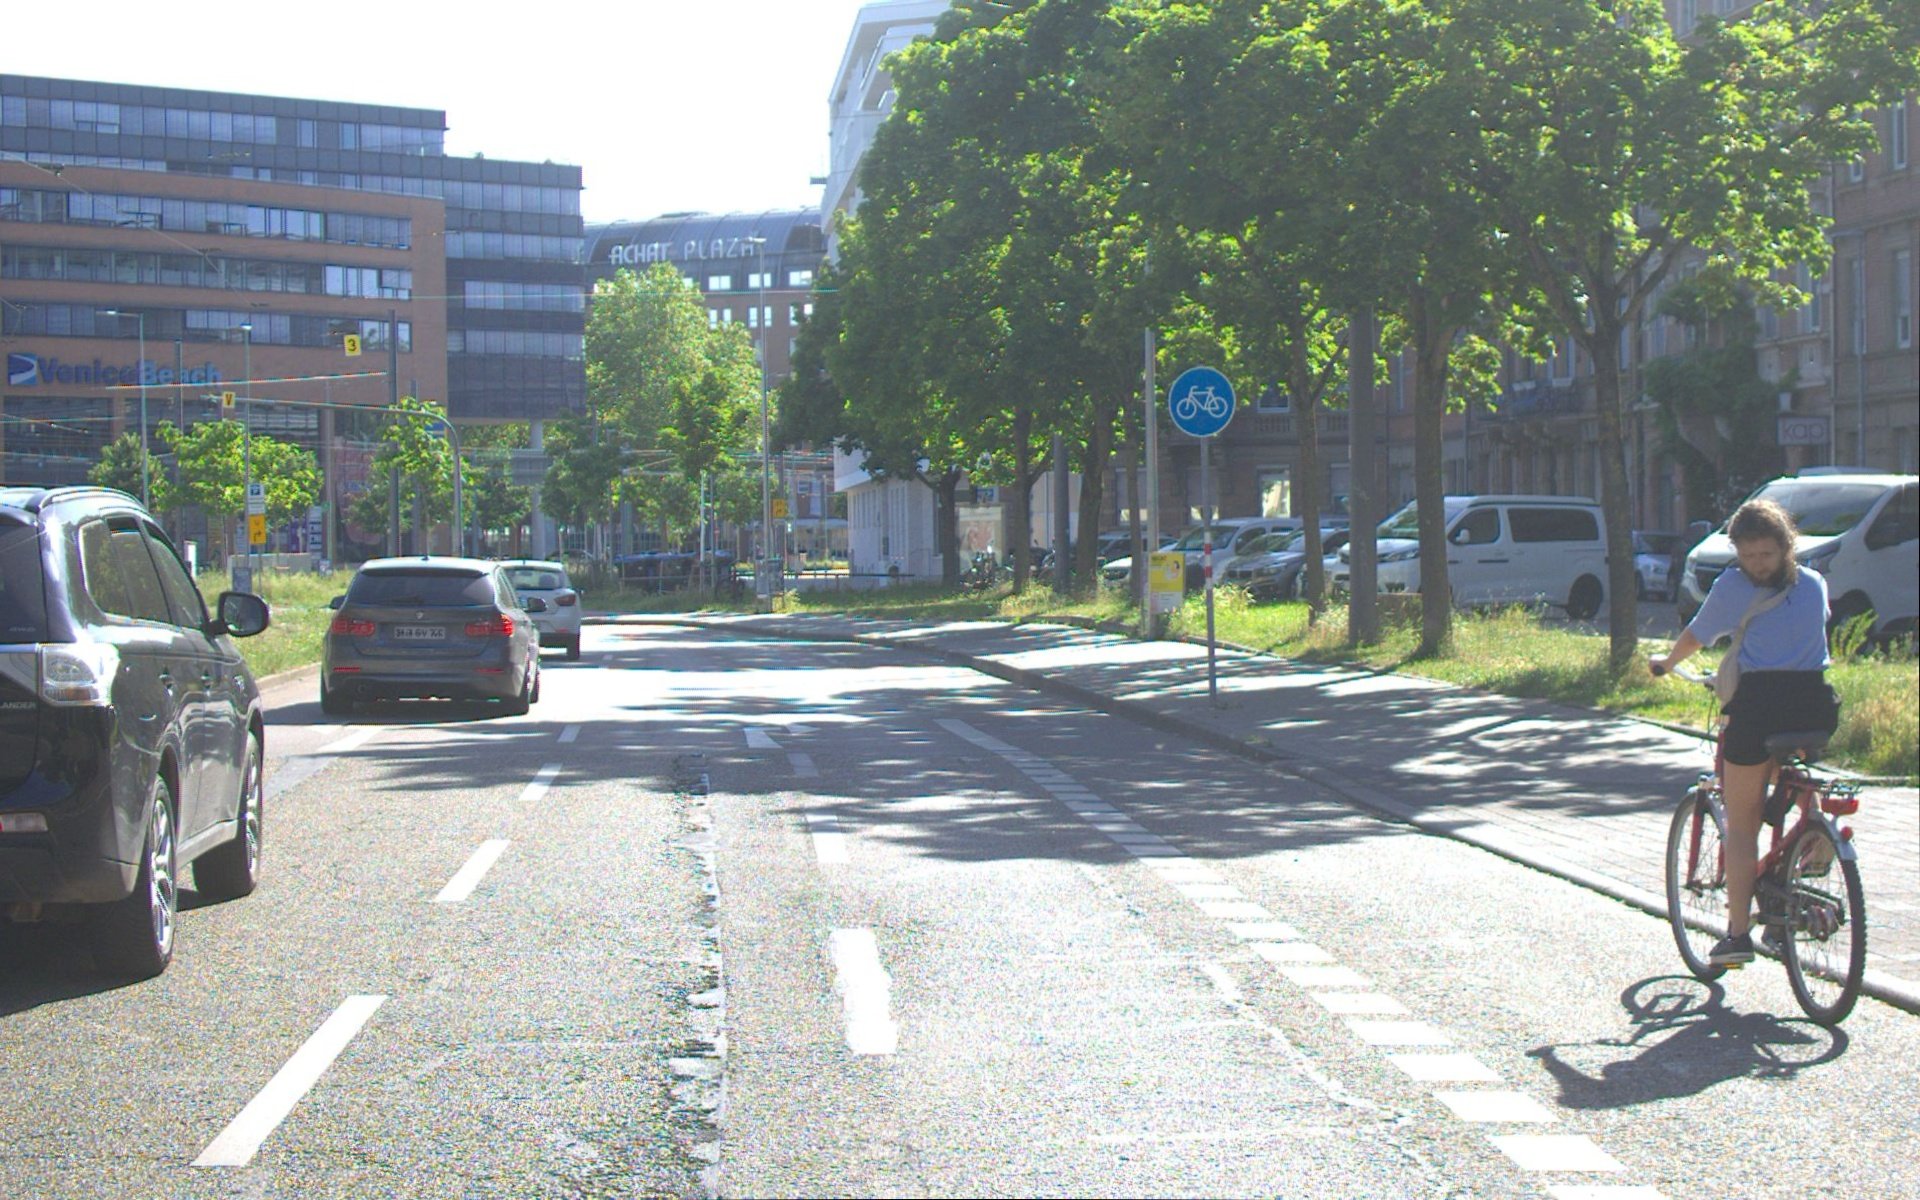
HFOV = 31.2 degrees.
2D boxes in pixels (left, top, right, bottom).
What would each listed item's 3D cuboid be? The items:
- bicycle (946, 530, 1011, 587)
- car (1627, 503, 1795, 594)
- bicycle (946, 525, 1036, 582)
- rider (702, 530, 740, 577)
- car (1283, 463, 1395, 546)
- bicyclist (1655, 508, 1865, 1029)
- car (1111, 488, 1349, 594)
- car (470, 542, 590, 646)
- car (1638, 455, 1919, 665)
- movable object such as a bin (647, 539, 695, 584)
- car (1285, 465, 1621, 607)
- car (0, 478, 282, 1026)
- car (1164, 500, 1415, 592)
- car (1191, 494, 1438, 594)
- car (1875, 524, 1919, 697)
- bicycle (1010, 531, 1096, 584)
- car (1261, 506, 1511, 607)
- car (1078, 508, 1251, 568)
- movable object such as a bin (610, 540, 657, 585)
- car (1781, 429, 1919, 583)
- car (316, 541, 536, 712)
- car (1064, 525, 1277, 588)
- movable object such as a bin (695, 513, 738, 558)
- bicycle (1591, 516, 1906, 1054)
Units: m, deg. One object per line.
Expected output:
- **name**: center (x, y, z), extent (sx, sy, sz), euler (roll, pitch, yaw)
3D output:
- **bicycle**: center (0.450, -1.000, 82.372), extent (0.769, 1.285, 1.594), euler (-1, 2, 35)
- **car**: center (14.652, -1.018, 67.324), extent (1.993, 1.685, 4.514), euler (-1, 1, -4)
- **bicycle**: center (0.763, -1.139, 84.563), extent (2.092, 1.360, 0.787), euler (-1, 1, -10)
- **rider**: center (-6.129, -1.193, 88.275), extent (0.502, 1.172, 1.675), euler (-1, 2, 12)
- **car**: center (11.366, -2.874, 103.448), extent (2.348, 2.349, 5.189), euler (-2, 2, -4)
- **bicyclist**: center (2.598, 0.521, 11.214), extent (0.437, 1.633, 0.779), euler (-1, 1, -4)
- **car**: center (5.773, -1.271, 73.213), extent (4.866, 2.006, 2.100), euler (-4, 1, -39)
- **car**: center (-6.293, -0.061, 50.109), extent (1.632, 1.418, 3.783), euler (1, -1, -8)
- **car**: center (9.726, -0.498, 37.160), extent (4.866, 2.068, 2.020), euler (-4, 2, -40)
- **movable object such as a bin**: center (-9.026, -1.202, 107.469), extent (1.108, 1.393, 1.320), euler (-1, 1, 15)
- **car**: center (7.901, -1.031, 54.916), extent (5.171, 2.006, 2.100), euler (-4, 1, -34)
- **car**: center (-3.687, 0.447, 12.781), extent (1.836, 1.676, 4.644), euler (0, 0, -5)
- **car**: center (6.818, -1.126, 70.886), extent (4.865, 1.642, 2.100), euler (-4, 1, -34)
- **car**: center (6.942, -1.094, 67.078), extent (4.499, 1.721, 2.000), euler (-4, 1, -34)
- **car**: center (10.279, -0.027, 29.684), extent (4.866, 1.430, 2.020), euler (-4, 2, -38)
- **bicycle**: center (2.242, -1.035, 83.064), extent (1.957, 1.188, 0.842), euler (-2, 1, -5)
- **car**: center (7.181, -0.740, 57.791), extent (4.019, 1.473, 1.812), euler (-4, 1, -38)
- **car**: center (5.545, -1.673, 92.908), extent (4.457, 1.560, 1.937), euler (-2, 1, -36)
- **movable object such as a bin**: center (-10.202, -1.176, 107.395), extent (1.069, 1.393, 1.303), euler (-1, 1, 15)
- **car**: center (16.178, -1.681, 60.585), extent (1.993, 2.576, 4.514), euler (-2, 2, -4)
- **car**: center (-4.829, 0.255, 31.581), extent (1.733, 1.418, 4.468), euler (1, -1, -6)
- **car**: center (4.874, -1.022, 79.220), extent (4.738, 1.375, 2.045), euler (-2, 1, -39)
- **movable object such as a bin**: center (-7.618, -2.024, 107.430), extent (1.029, 1.393, 1.090), euler (-1, 1, 15)
- **bicycle**: center (2.584, 0.541, 11.451), extent (0.437, 1.633, 1.939), euler (-1, 1, -5)
